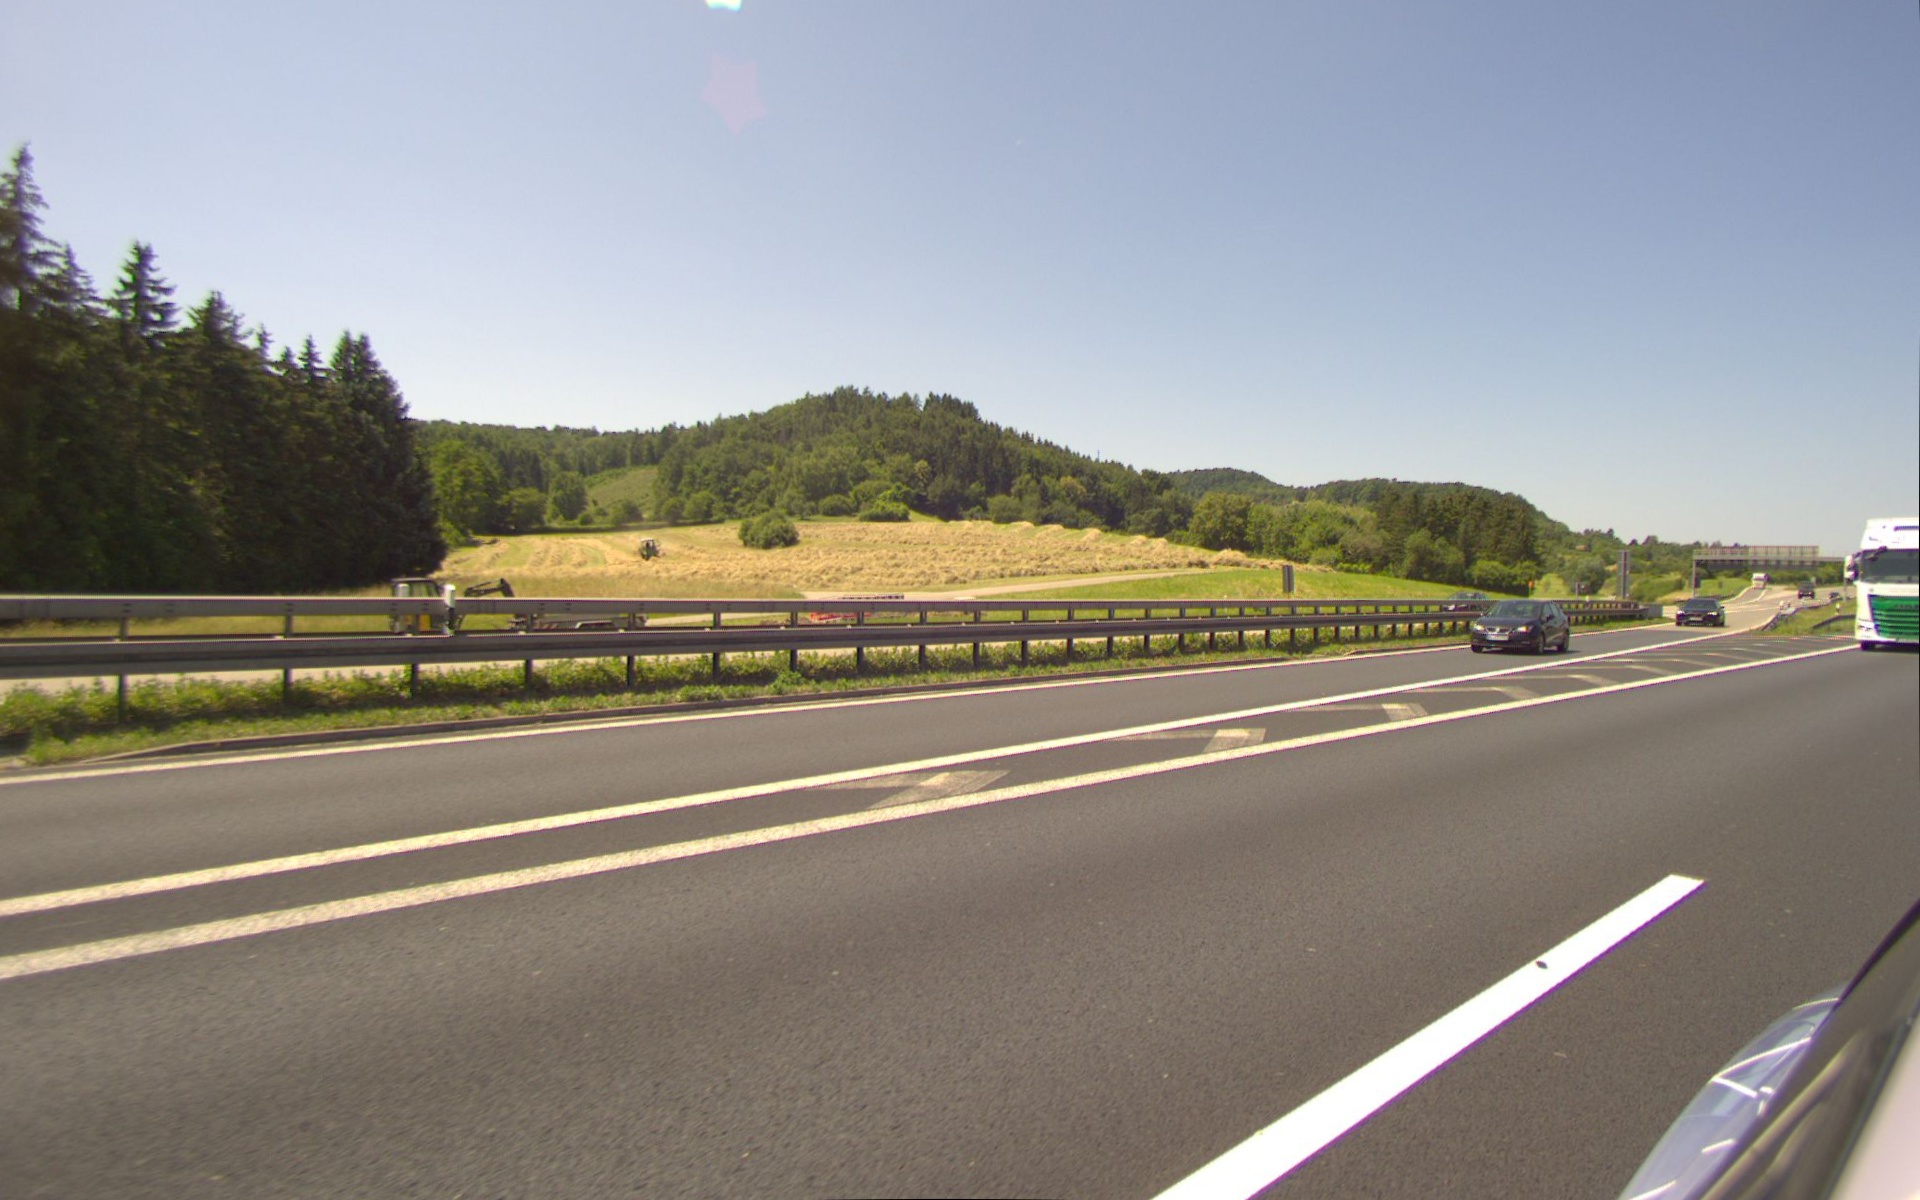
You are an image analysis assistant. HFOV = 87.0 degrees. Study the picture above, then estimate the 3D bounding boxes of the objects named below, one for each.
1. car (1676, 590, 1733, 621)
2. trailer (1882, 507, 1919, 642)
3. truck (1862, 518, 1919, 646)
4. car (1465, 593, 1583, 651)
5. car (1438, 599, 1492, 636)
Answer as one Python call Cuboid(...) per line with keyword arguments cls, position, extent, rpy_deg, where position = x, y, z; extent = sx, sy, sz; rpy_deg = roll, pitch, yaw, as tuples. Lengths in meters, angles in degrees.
Cuboid(cls="car", position=(37.949, 0.263, 51.567), extent=(1.887, 1.491, 3.806), rpy_deg=(0, 0, 44))
Cuboid(cls="trailer", position=(35.954, -0.803, 36.334), extent=(14.636, 4.241, 2.660), rpy_deg=(0, 0, -42))
Cuboid(cls="truck", position=(28.841, -0.525, 30.011), extent=(4.328, 3.638, 2.646), rpy_deg=(0, 0, -42))
Cuboid(cls="car", position=(14.996, 0.518, 26.842), extent=(3.699, 1.417, 1.778), rpy_deg=(-1, 0, -44))
Cuboid(cls="car", position=(28.924, 0.967, 57.910), extent=(1.990, 2.039, 3.944), rpy_deg=(0, 0, 39))
